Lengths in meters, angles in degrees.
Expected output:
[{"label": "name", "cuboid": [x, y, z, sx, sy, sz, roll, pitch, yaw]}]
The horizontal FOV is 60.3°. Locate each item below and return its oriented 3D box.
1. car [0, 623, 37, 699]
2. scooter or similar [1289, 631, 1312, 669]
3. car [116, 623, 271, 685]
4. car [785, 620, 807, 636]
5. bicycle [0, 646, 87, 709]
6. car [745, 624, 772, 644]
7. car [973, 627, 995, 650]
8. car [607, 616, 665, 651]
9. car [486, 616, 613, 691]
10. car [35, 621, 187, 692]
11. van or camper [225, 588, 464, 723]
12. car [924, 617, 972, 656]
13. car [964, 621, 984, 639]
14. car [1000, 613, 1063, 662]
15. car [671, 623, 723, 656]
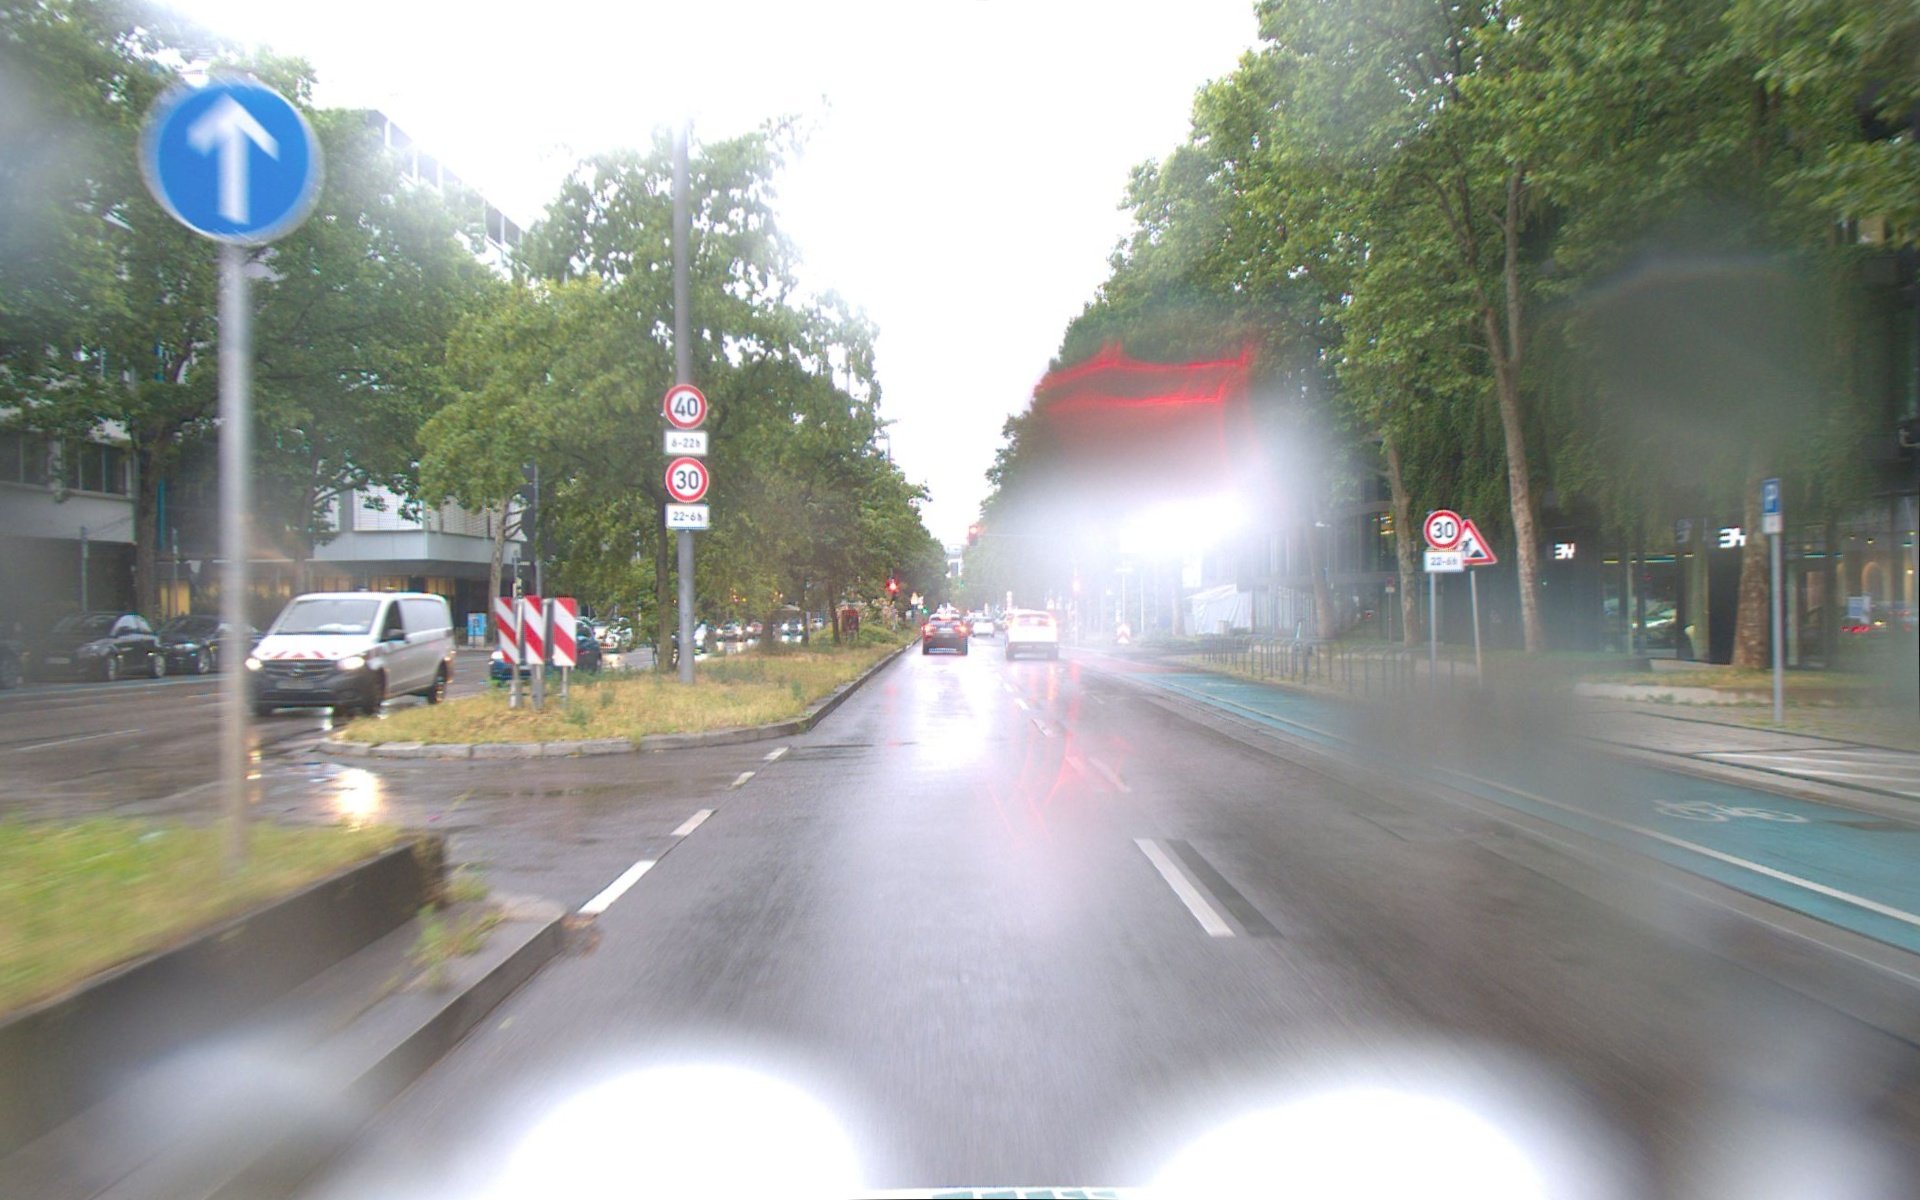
[{"label": "car", "cuboid": [-18.996, 1.153, 30.349, 1.658, 1.434, 4.455, 0, 0, -1]}, {"label": "scooter or similar", "cuboid": [11.377, 1.657, 55.252, 0.374, 1.249, 1.075, -1, -1, 35]}, {"label": "car", "cuboid": [-19.096, 1.315, 41.448, 1.658, 1.434, 4.903, 0, 0, -1]}, {"label": "car", "cuboid": [-14.346, 2.451, 144.974, 1.581, 1.418, 3.596, 0, -1, -1]}, {"label": "bicycle", "cuboid": [-17.352, 1.444, 31.282, 0.694, 1.123, 1.816, -1, -1, 0]}, {"label": "car", "cuboid": [-14.891, 2.519, 122.391, 1.581, 1.418, 4.183, 0, 0, -1]}, {"label": "car", "cuboid": [1.850, 2.986, 129.575, 1.587, 1.695, 3.999, -1, -1, -1]}, {"label": "car", "cuboid": [-13.875, 1.432, 70.930, 1.806, 1.454, 3.642, 0, -1, -1]}, {"label": "car", "cuboid": [-9.204, 1.165, 37.445, 1.806, 1.508, 4.395, 1, 0, -1]}, {"label": "car", "cuboid": [-18.898, 1.223, 36.967, 1.658, 1.494, 3.459, 0, -1, -1]}, {"label": "van or camper", "cuboid": [-9.708, 0.822, 26.614, 1.953, 1.947, 5.250, 0, -1, -1]}, {"label": "car", "cuboid": [-0.503, 1.457, 66.549, 1.879, 1.517, 3.999, 0, -1, -1]}, {"label": "car", "cuboid": [1.138, 2.500, 138.083, 1.587, 1.398, 3.999, -1, -1, -1]}, {"label": "car", "cuboid": [2.492, 1.297, 58.883, 1.953, 1.684, 4.887, 0, 0, -1]}, {"label": "car", "cuboid": [-11.564, 1.723, 72.881, 1.684, 1.349, 3.999, 0, 0, -1]}]
